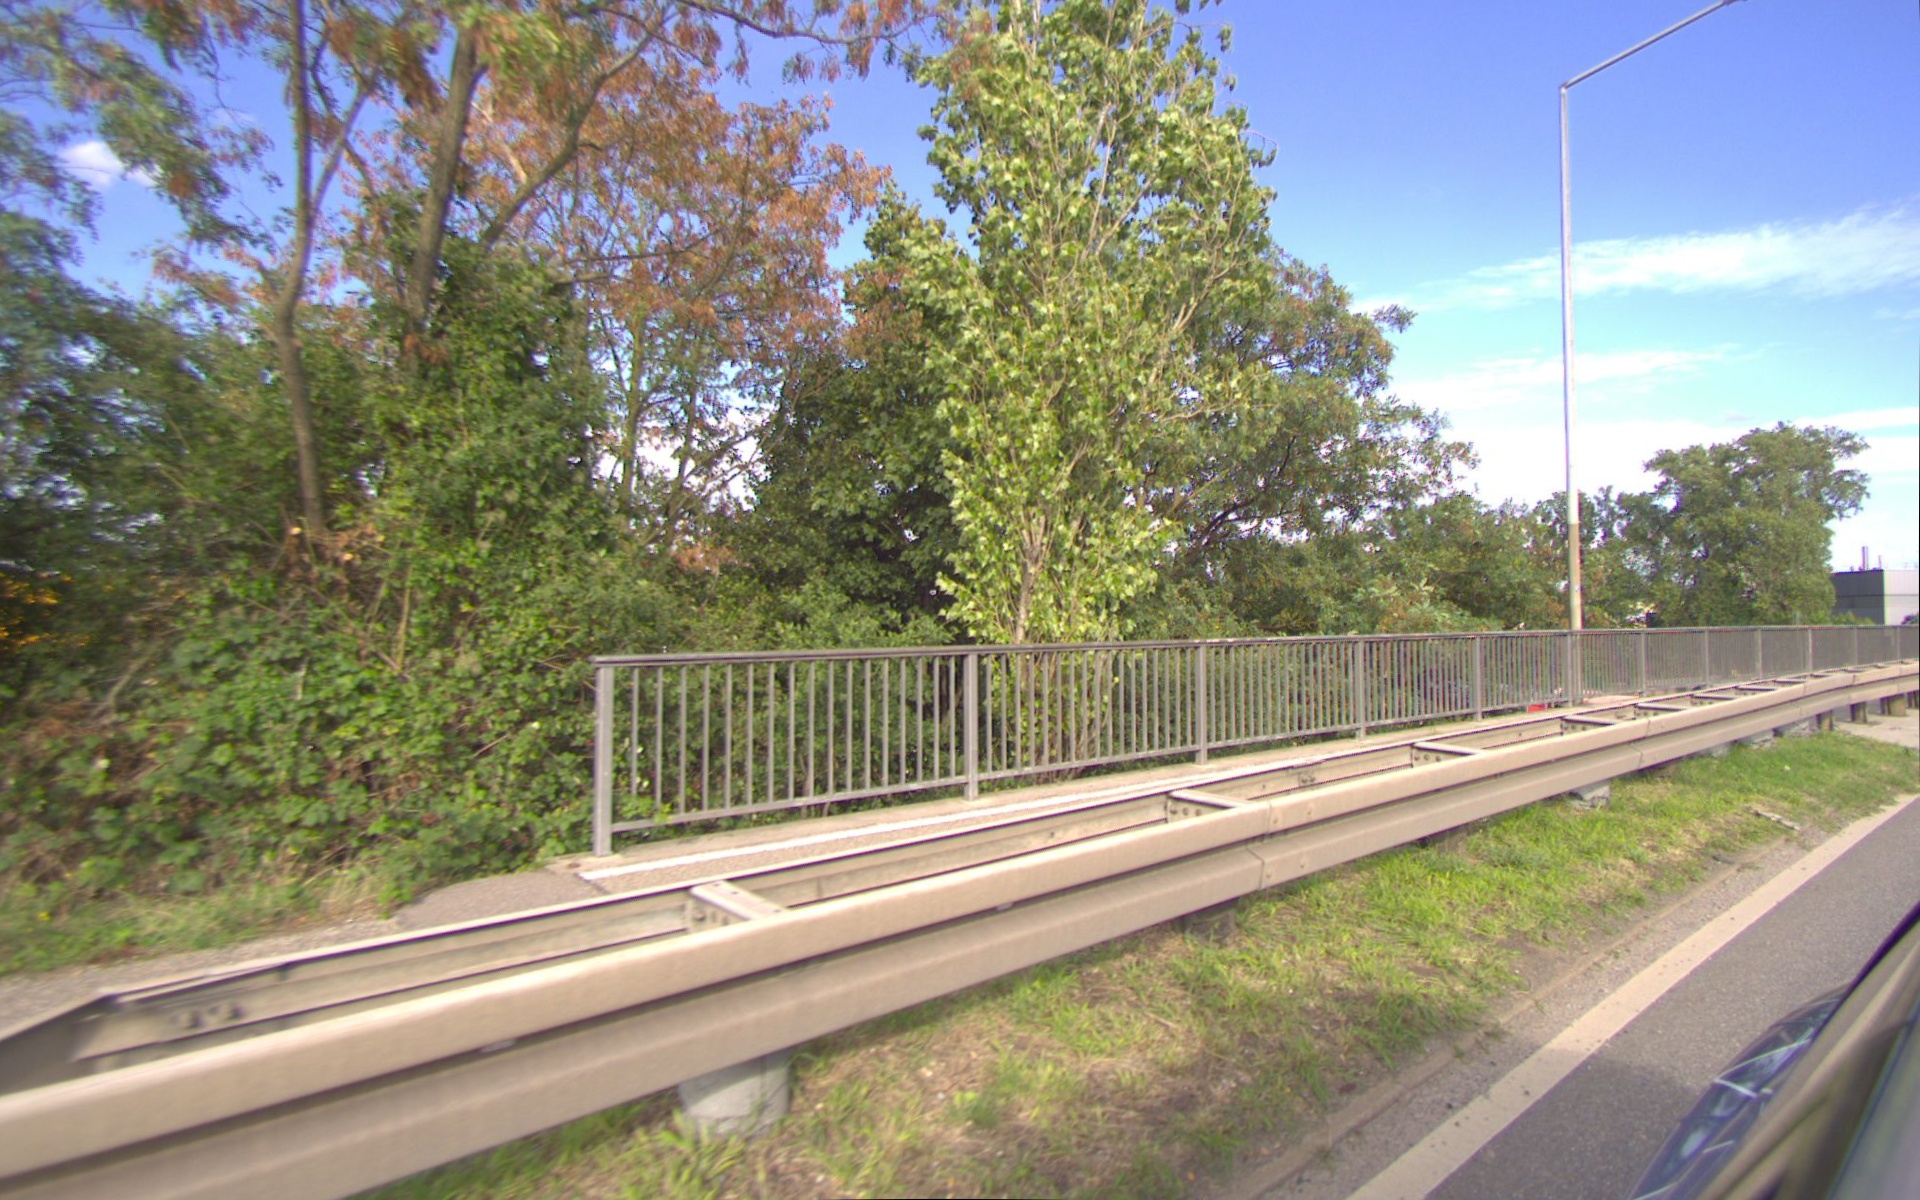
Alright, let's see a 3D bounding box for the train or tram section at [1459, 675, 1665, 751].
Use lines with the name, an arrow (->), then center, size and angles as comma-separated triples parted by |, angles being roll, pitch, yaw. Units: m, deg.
train or tram section -> 49.790, 9.182, 85.010 | 3.031, 4.197, 17.340 | 0, 1, -17
